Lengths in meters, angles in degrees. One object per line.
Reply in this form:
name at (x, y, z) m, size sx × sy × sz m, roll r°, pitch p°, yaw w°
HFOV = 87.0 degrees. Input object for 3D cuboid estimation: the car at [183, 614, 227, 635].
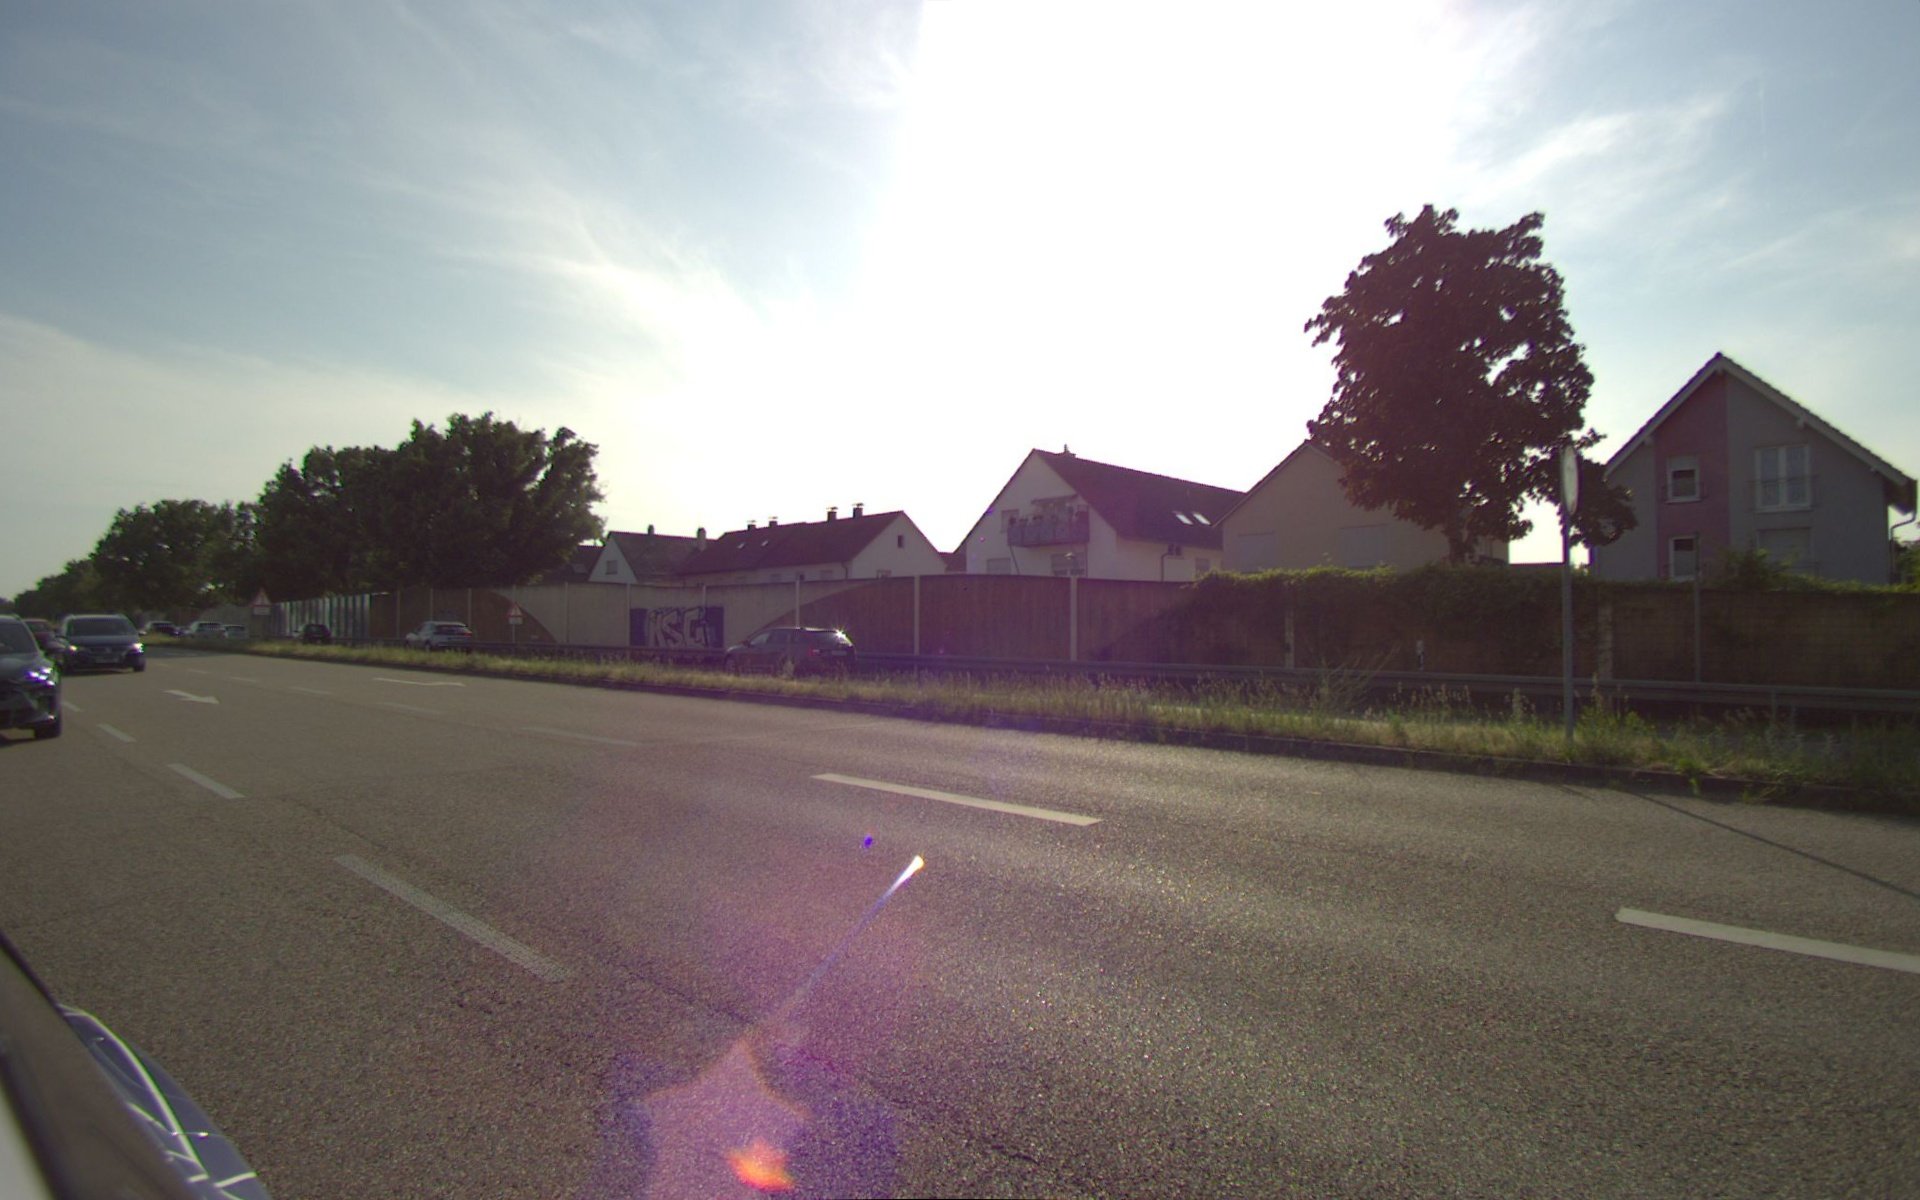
car at (-47.773, 1.563, 64.002) m, size 3.504 × 1.231 × 1.612 m, roll -1°, pitch -4°, yaw 43°

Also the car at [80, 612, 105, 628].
car at (-91.560, 2.098, 106.754) m, size 3.819 × 1.586 × 1.663 m, roll -1°, pitch 0°, yaw 44°

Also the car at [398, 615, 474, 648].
car at (-23.736, 1.387, 45.791) m, size 3.998 × 1.364 × 1.716 m, roll -1°, pitch 0°, yaw 41°

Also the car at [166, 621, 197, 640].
car at (-69.642, 2.690, 90.508) m, size 3.819 × 1.586 × 1.663 m, roll -1°, pitch 0°, yaw 44°

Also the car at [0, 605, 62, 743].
car at (-13.103, 0.897, 13.208) m, size 4.341 × 1.615 × 1.766 m, roll -1°, pitch 0°, yaw 44°

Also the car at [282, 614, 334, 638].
car at (-39.828, 1.581, 61.819) m, size 3.776 × 1.363 × 1.842 m, roll -1°, pitch -3°, yaw 44°

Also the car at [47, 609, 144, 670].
car at (-25.139, 1.084, 29.363) m, size 4.684 × 1.633 × 1.752 m, roll -1°, pitch -1°, yaw 45°

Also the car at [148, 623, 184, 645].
car at (-61.008, 2.579, 77.731) m, size 3.819 × 1.586 × 1.663 m, roll -1°, pitch 0°, yaw 44°

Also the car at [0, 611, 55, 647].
car at (-43.619, 1.315, 47.288) m, size 4.001 × 1.557 × 1.724 m, roll -1°, pitch 0°, yaw 44°

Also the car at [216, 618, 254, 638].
car at (-54.536, 2.099, 76.069) m, size 3.497 × 1.371 × 1.522 m, roll -1°, pitch -4°, yaw 41°

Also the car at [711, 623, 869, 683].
car at (-4.629, 1.351, 27.117) m, size 4.554 × 1.393 × 1.769 m, roll -1°, pitch 0°, yaw 43°
